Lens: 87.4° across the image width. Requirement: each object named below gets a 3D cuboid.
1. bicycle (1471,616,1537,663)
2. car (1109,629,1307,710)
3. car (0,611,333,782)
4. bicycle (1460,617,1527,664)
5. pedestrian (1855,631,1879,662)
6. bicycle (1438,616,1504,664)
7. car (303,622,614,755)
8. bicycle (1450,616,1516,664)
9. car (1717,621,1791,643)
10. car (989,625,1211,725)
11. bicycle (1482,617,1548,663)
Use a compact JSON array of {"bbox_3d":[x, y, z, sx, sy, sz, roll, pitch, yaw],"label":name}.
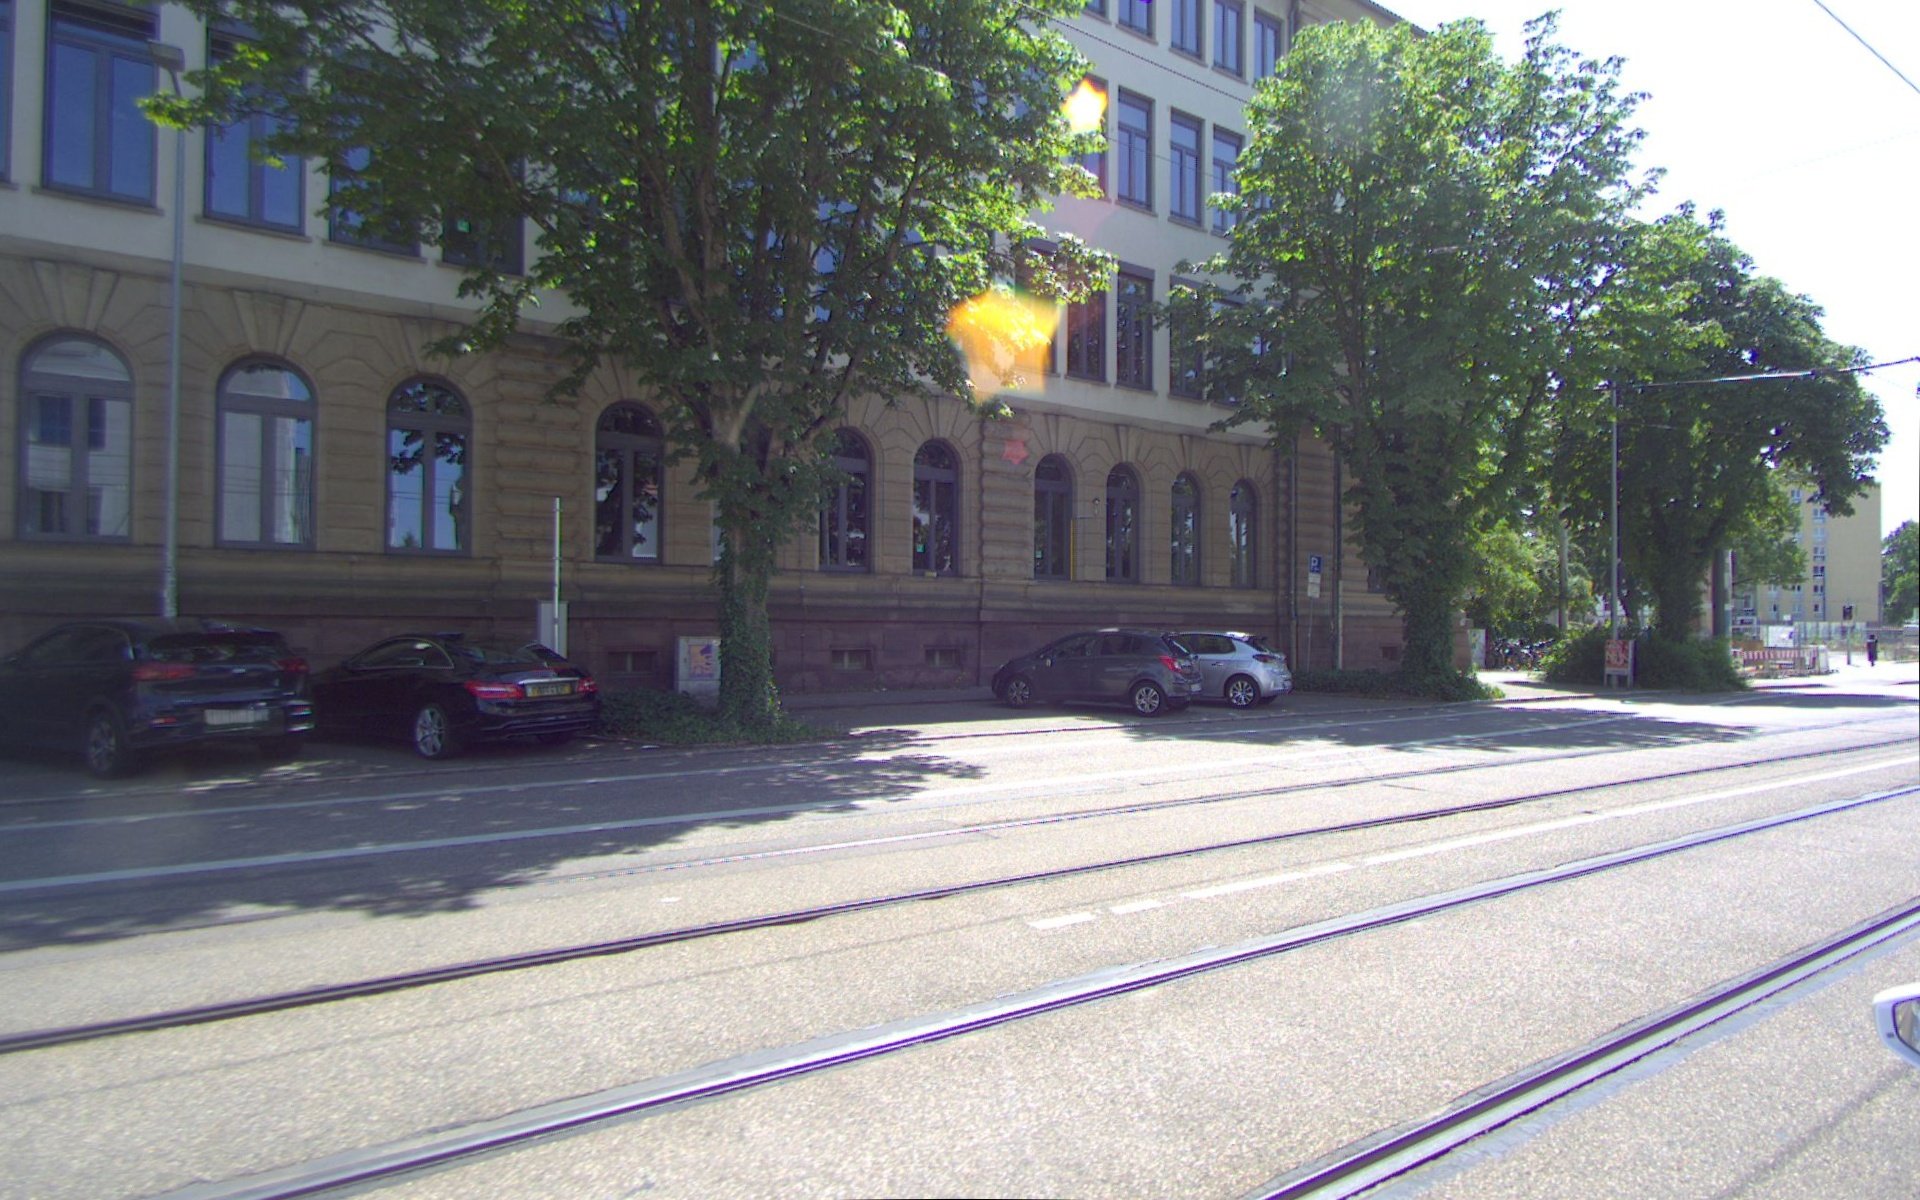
[{"bbox_3d":[20.587,1.484,38.083,0.545,1.714,2.313,2,-2,-26],"label":"bicycle"},{"bbox_3d":[4.907,1.308,19.925,3.486,1.424,1.699,0,-1,30],"label":"car"},{"bbox_3d":[-8.951,0.945,11.030,3.747,1.598,1.792,-1,-2,26],"label":"car"},{"bbox_3d":[20.044,1.486,37.793,0.545,1.714,2.313,2,-2,-26],"label":"bicycle"},{"bbox_3d":[47.309,2.430,52.376,0.814,1.623,0.604,1,-2,-22],"label":"pedestrian"},{"bbox_3d":[18.933,1.466,37.254,0.545,1.714,2.313,2,-2,-26],"label":"bicycle"},{"bbox_3d":[-6.183,0.981,12.271,3.866,1.392,1.665,-1,-2,33],"label":"car"},{"bbox_3d":[19.491,1.475,37.499,0.545,1.714,2.313,2,-2,-26],"label":"bicycle"},{"bbox_3d":[62.008,2.520,78.512,1.823,1.671,4.178,1,-2,-20],"label":"car"},{"bbox_3d":[2.514,1.271,18.160,3.611,1.540,1.666,1,-1,30],"label":"car"},{"bbox_3d":[21.151,1.507,38.366,0.545,1.714,2.313,2,-2,-26],"label":"bicycle"}]
